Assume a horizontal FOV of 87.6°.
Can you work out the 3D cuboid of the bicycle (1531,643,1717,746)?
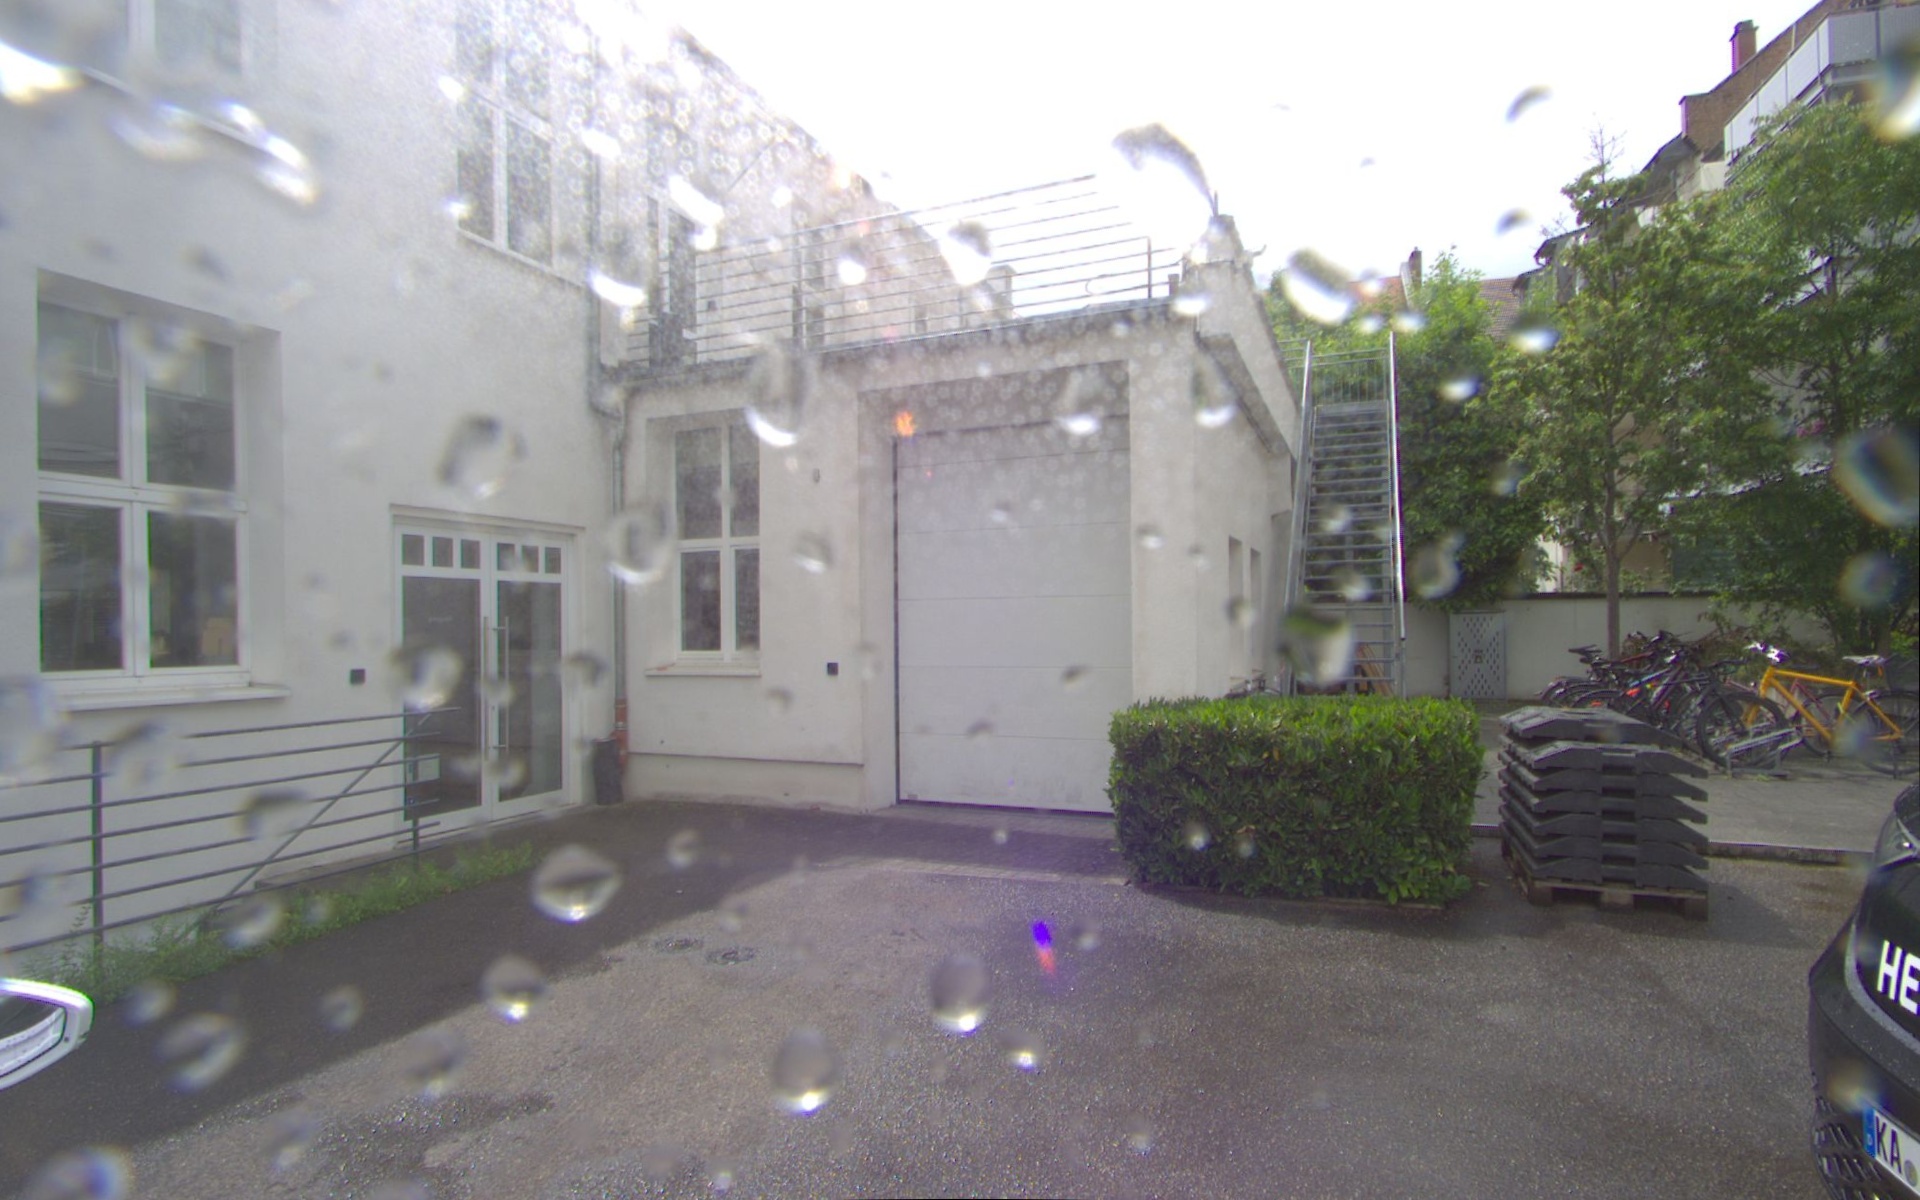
[{"bbox_3d":[7.501,1.053,11.374,1.724,1.118,0.345,-1,0,17],"label":"bicycle"}]

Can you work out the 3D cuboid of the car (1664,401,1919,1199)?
[{"bbox_3d":[3.920,0.531,1.128,4.662,1.888,1.969,-2,-2,16],"label":"car"}]

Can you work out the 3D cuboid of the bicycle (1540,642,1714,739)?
[{"bbox_3d":[8.050,1.078,12.139,1.724,1.118,0.341,-1,0,17],"label":"bicycle"}]

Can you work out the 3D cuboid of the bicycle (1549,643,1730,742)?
[{"bbox_3d":[7.950,1.066,11.774,1.724,1.118,0.354,-1,0,17],"label":"bicycle"}]

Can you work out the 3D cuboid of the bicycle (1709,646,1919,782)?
[{"bbox_3d":[7.663,0.967,8.727,1.767,1.118,0.366,-1,0,25],"label":"bicycle"}]

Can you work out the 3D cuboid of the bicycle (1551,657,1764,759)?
[{"bbox_3d":[7.105,1.085,10.264,1.764,0.980,0.329,-1,0,17],"label":"bicycle"}]

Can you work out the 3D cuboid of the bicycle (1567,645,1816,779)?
[{"bbox_3d":[6.572,0.976,9.088,1.767,1.118,0.404,-1,0,25],"label":"bicycle"}]

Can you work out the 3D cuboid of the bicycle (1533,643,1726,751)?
[{"bbox_3d":[7.277,1.040,10.945,1.724,1.118,0.342,-1,0,17],"label":"bicycle"}]

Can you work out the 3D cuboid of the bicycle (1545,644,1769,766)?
[{"bbox_3d":[6.806,1.003,9.863,1.767,1.118,0.353,-1,0,25],"label":"bicycle"}]

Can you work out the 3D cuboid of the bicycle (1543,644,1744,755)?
[{"bbox_3d":[7.190,1.027,10.597,1.724,1.118,0.332,-1,0,17],"label":"bicycle"}]
